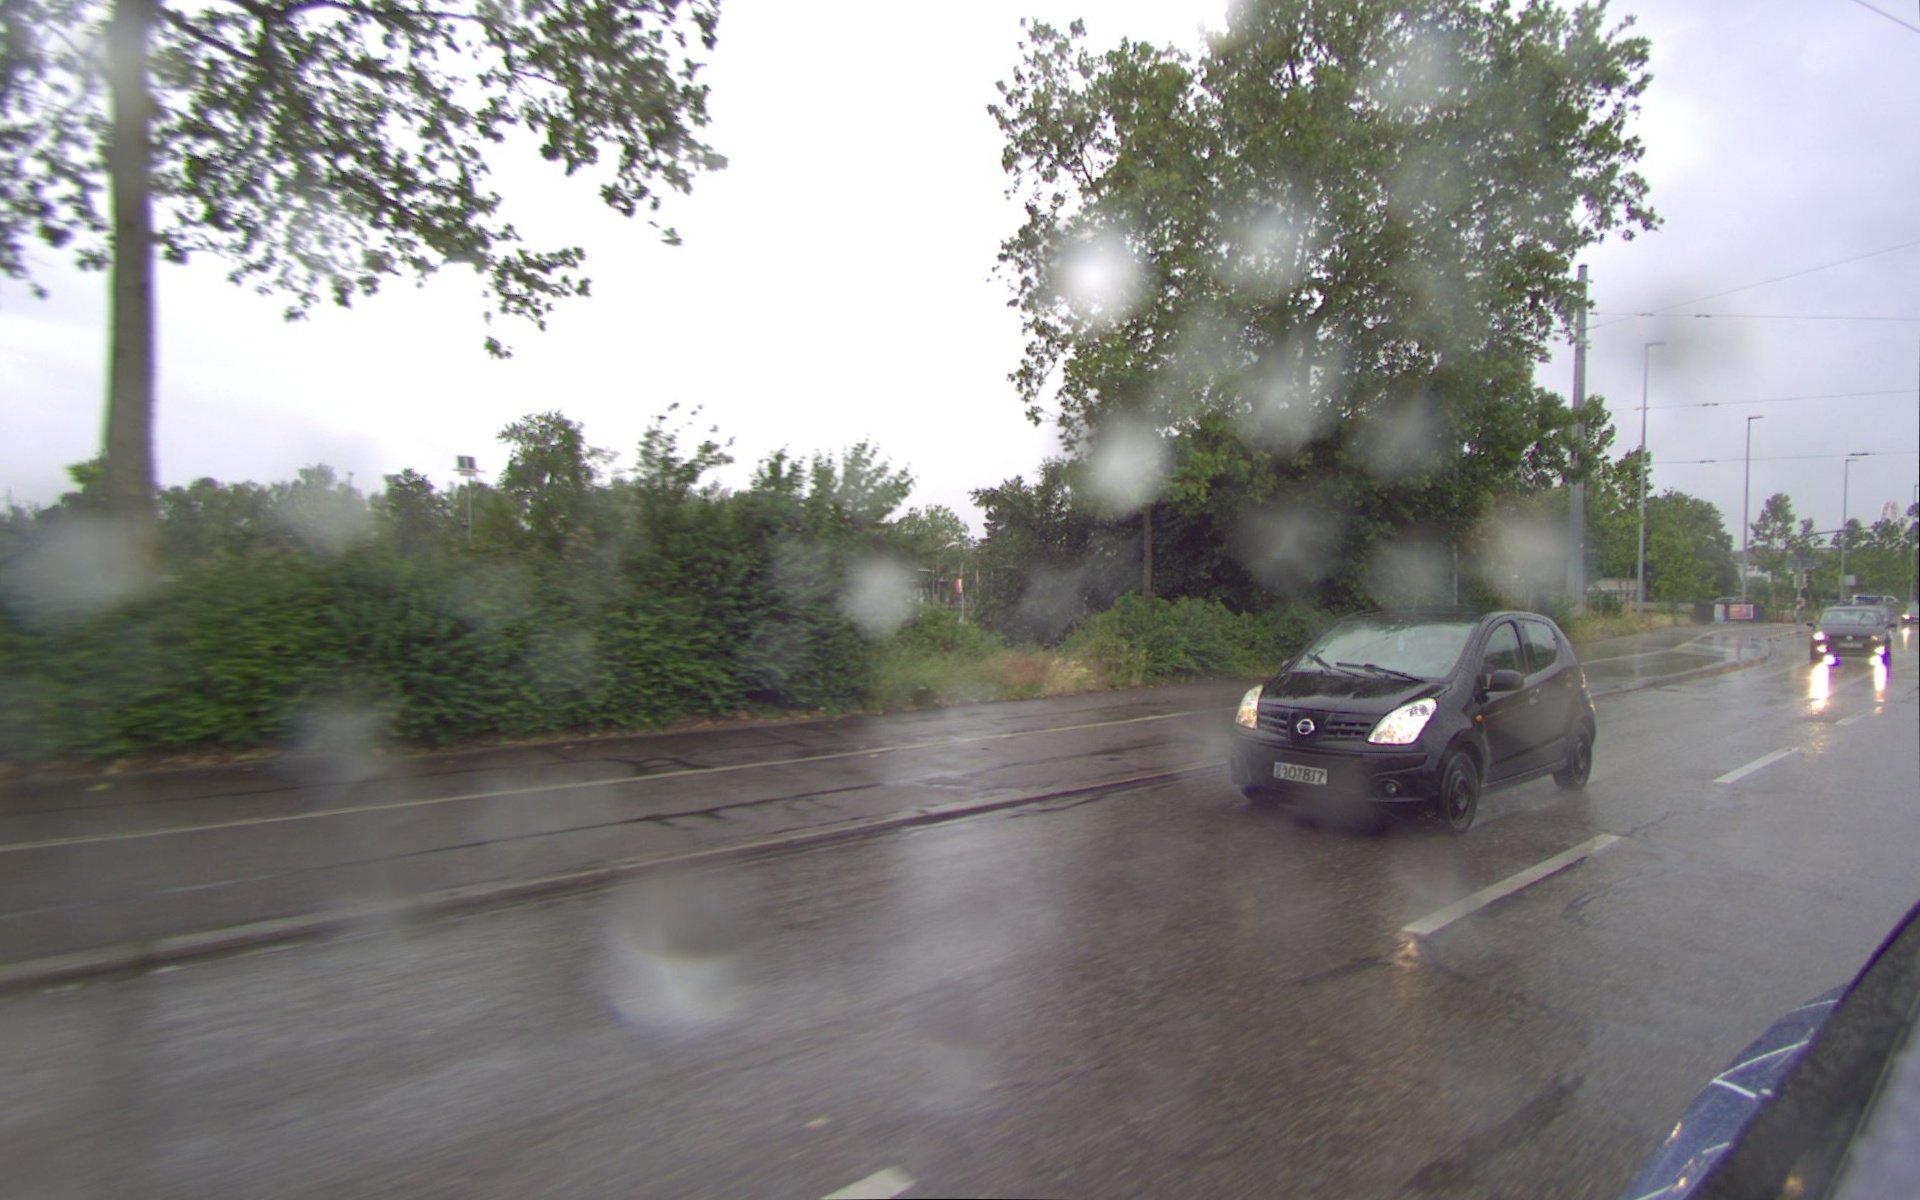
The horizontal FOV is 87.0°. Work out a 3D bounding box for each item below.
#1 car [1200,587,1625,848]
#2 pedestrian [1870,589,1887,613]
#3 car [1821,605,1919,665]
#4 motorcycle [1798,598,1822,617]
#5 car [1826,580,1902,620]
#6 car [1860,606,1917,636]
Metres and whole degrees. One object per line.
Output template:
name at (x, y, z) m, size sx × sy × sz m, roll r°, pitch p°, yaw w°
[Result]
car at (3.682, 0.690, 7.840) m, size 1.772 × 1.480 × 4.027 m, roll 0°, pitch -1°, yaw 44°
pedestrian at (64.495, 0.070, 71.058) m, size 0.607 × 1.631 × 0.734 m, roll -1°, pitch 2°, yaw -39°
car at (24.756, 0.911, 27.288) m, size 3.970 × 1.503 × 1.714 m, roll 1°, pitch -1°, yaw -40°
motorcycle at (55.266, 0.492, 65.798) m, size 1.418 × 1.233 × 0.635 m, roll 1°, pitch 2°, yaw -28°
car at (36.179, 0.030, 40.465) m, size 3.970 × 1.544 × 1.714 m, roll 1°, pitch -1°, yaw -40°
car at (49.507, 1.092, 53.922) m, size 4.103 × 1.544 × 1.714 m, roll 1°, pitch -1°, yaw -40°
